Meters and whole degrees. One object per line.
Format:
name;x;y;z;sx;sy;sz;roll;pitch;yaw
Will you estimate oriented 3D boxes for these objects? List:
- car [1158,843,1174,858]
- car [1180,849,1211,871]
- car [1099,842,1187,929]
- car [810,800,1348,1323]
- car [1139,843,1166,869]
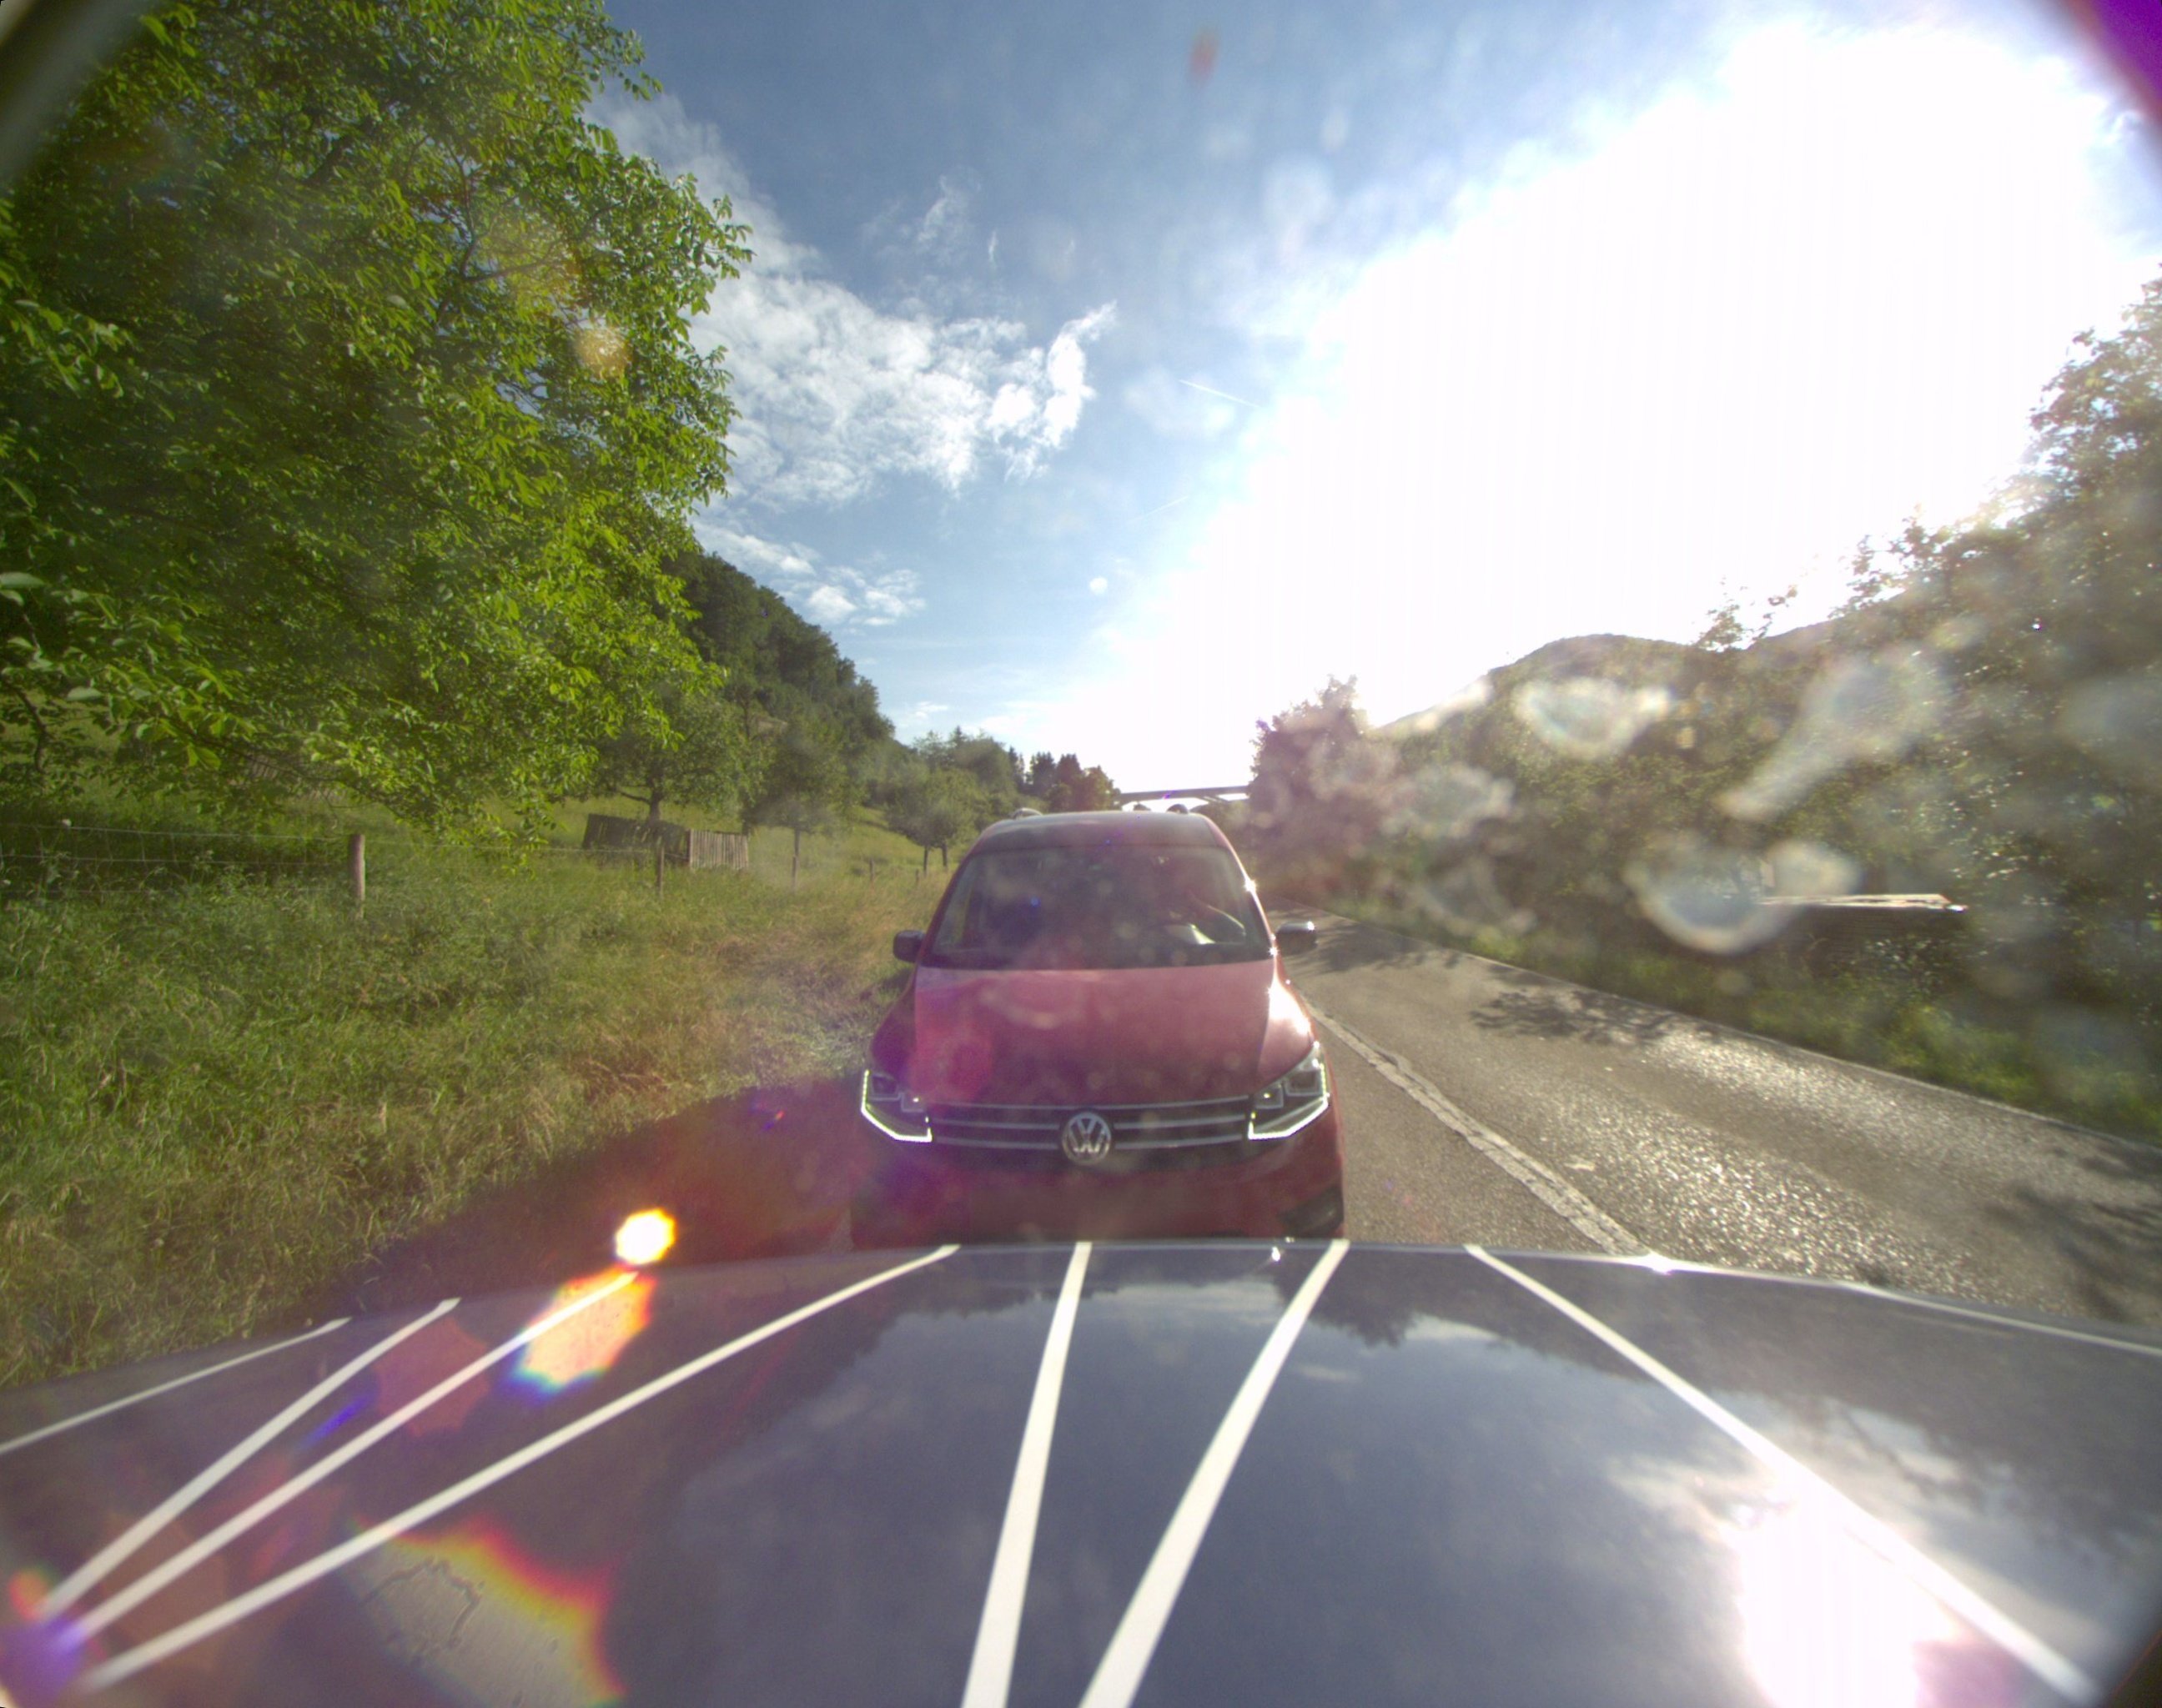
car;11.563;-0.478;103.578;1.997;2.002;4.001;-2;1;6
car;7.991;0.407;53.248;1.708;1.422;4.050;-2;1;2
car;1.434;0.627;17.631;1.758;1.745;4.001;-2;1;5
car;0.129;0.695;4.780;1.759;1.745;4.430;-2;1;4
car;5.811;0.105;62.012;1.998;2.002;4.000;-2;1;4
